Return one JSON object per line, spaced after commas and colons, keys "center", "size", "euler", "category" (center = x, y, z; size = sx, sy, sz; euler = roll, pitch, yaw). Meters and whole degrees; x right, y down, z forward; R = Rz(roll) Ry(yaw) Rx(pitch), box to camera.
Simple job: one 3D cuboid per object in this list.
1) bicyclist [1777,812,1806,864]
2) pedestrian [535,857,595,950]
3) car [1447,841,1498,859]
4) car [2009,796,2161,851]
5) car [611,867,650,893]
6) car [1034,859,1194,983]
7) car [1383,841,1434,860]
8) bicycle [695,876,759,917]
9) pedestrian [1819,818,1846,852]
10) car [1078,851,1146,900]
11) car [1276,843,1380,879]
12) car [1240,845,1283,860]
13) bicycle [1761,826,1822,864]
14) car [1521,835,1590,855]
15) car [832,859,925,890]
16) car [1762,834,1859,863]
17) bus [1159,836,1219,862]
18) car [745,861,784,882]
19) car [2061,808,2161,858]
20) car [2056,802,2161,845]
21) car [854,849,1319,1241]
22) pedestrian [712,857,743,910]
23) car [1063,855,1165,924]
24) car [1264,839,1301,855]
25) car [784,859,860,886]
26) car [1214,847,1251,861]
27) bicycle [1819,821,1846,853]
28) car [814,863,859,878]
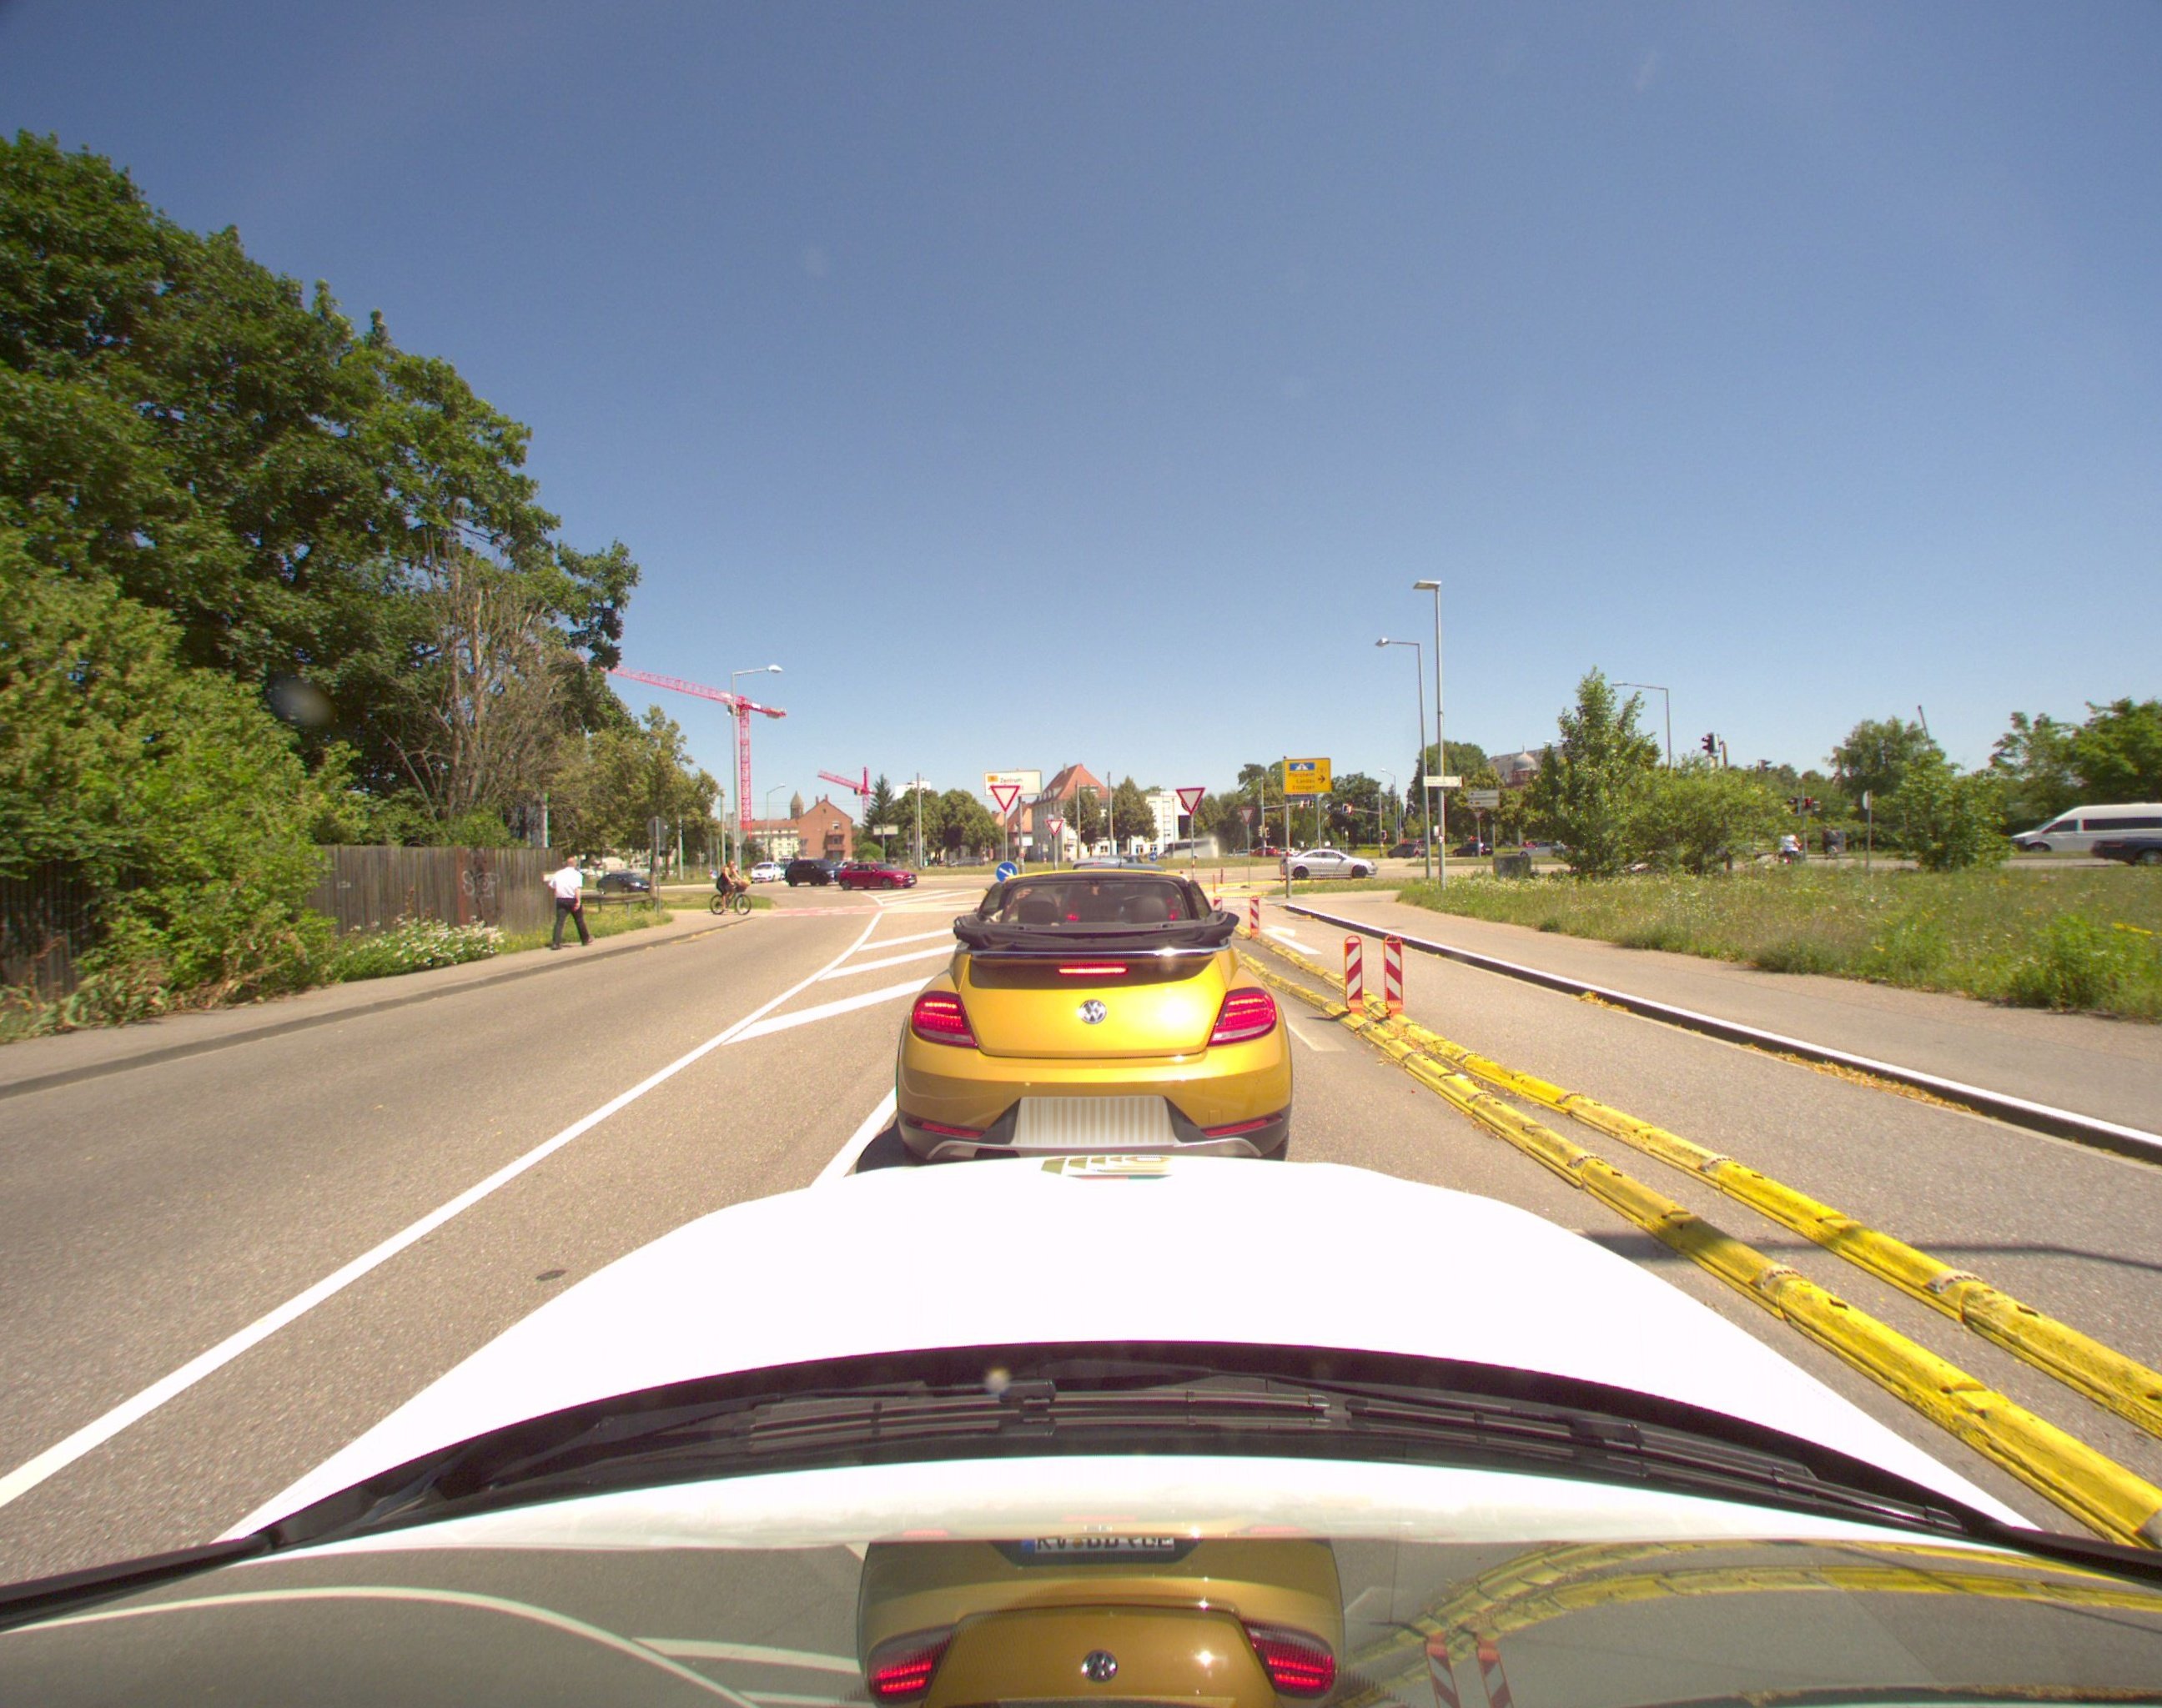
{"center": [25.744, -0.576, 29.524], "size": [0.573, 1.841, 0.603], "euler": [0, -1, -29], "category": "bicyclist"}
{"center": [-10.206, 0.953, 16.133], "size": [0.635, 1.786, 0.967], "euler": [0, -1, -6], "category": "pedestrian"}
{"center": [38.657, -0.377, 80.564], "size": [1.851, 1.736, 4.409], "euler": [0, -1, -24], "category": "car"}
{"center": [48.484, -1.403, 38.903], "size": [5.261, 2.397, 2.006], "euler": [-1, -1, 43], "category": "car"}
{"center": [-30.519, 1.733, 55.114], "size": [1.736, 1.552, 4.295], "euler": [-3, 1, -36], "category": "car"}
{"center": [0.456, 0.805, 11.795], "size": [1.844, 1.366, 4.260], "euler": [-2, 0, 2], "category": "car"}
{"center": [31.092, -0.345, 77.470], "size": [1.851, 1.736, 4.409], "euler": [0, -1, -24], "category": "car"}
{"center": [-11.504, 1.379, 26.461], "size": [1.830, 1.231, 0.615], "euler": [-3, -1, 12], "category": "bicycle"}
{"center": [37.888, -0.960, 41.059], "size": [0.959, 1.660, 0.892], "euler": [-1, -1, 44], "category": "pedestrian"}
{"center": [1.040, 0.669, 27.777], "size": [2.057, 1.481, 4.545], "euler": [-2, 0, 2], "category": "car"}
{"center": [11.442, 0.316, 37.972], "size": [4.380, 1.527, 2.005], "euler": [-2, 0, 8], "category": "car"}
{"center": [20.964, -0.132, 94.638], "size": [4.387, 1.736, 1.860], "euler": [-1, -1, 35], "category": "car"}
{"center": [25.830, -0.317, 29.573], "size": [2.902, 1.353, 0.635], "euler": [0, -1, -28], "category": "bicycle"}
{"center": [34.873, -0.670, 59.958], "size": [1.752, 1.371, 4.303], "euler": [0, -1, -19], "category": "car"}
{"center": [-10.623, 1.061, 42.726], "size": [4.368, 1.527, 2.010], "euler": [-1, -1, 20], "category": "car"}
{"center": [45.172, -0.298, 50.521], "size": [4.389, 1.736, 1.860], "euler": [-1, -1, 43], "category": "car"}
{"center": [13.580, -0.572, 102.703], "size": [7.187, 3.172, 2.274], "euler": [-1, -1, 24], "category": "bus"}
{"center": [-24.799, 1.341, 63.973], "size": [1.773, 1.527, 3.866], "euler": [-2, 0, -5], "category": "car"}
{"center": [39.263, -0.749, 29.000], "size": [5.262, 1.736, 2.012], "euler": [-1, -1, 40], "category": "car"}
{"center": [52.267, -1.491, 40.074], "size": [5.261, 1.962, 2.006], "euler": [-1, -1, 44], "category": "car"}
{"center": [0.084, 0.744, 5.227], "size": [1.758, 1.481, 4.259], "euler": [0, 0, 2], "category": "car"}
{"center": [-11.489, 0.950, 26.477], "size": [0.728, 1.691, 0.577], "euler": [-1, -1, 11], "category": "pedestrian"}
{"center": [0.734, 0.742, 18.709], "size": [2.057, 1.382, 4.259], "euler": [0, 0, 2], "category": "car"}
{"center": [24.126, -0.845, 97.608], "size": [3.948, 1.772, 1.798], "euler": [-1, -1, 32], "category": "car"}
{"center": [-16.014, 1.110, 50.265], "size": [4.363, 1.595, 2.012], "euler": [-1, -1, 29], "category": "car"}
{"center": [19.830, -0.029, 106.416], "size": [4.389, 1.736, 1.859], "euler": [-1, -1, 27], "category": "car"}
{"center": [37.987, -0.832, 41.168], "size": [0.972, 1.597, 2.900], "euler": [-1, -1, 43], "category": "bicycle"}
{"center": [-23.800, 1.560, 79.392], "size": [1.711, 1.402, 4.297], "euler": [-1, -1, 29], "category": "car"}
